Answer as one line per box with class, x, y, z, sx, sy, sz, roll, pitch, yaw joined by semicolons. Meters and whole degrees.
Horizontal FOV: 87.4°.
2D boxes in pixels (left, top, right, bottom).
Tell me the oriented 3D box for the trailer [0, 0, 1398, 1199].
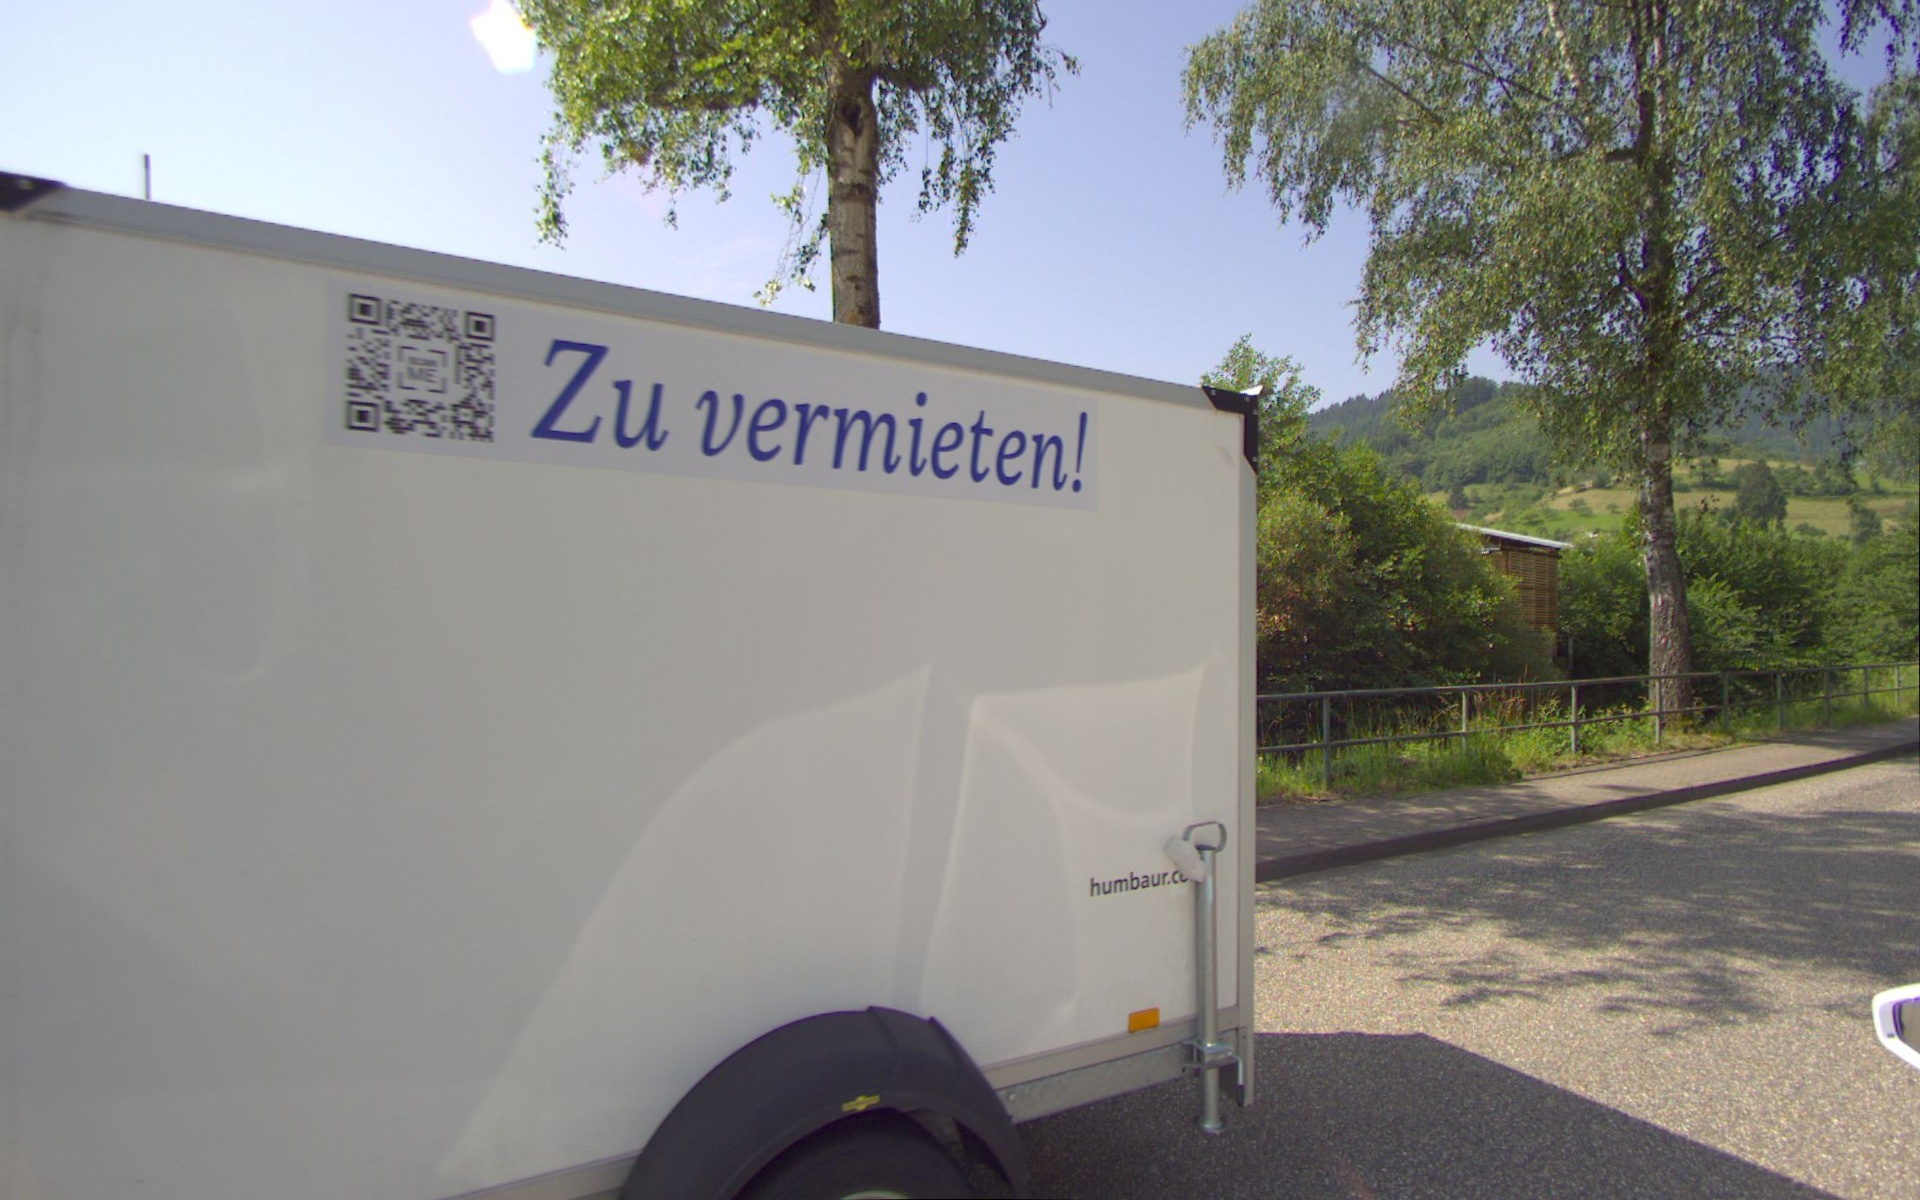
trailer;-0.850;0.282;2.229;3.626;2.105;1.460;1;-2;-29
